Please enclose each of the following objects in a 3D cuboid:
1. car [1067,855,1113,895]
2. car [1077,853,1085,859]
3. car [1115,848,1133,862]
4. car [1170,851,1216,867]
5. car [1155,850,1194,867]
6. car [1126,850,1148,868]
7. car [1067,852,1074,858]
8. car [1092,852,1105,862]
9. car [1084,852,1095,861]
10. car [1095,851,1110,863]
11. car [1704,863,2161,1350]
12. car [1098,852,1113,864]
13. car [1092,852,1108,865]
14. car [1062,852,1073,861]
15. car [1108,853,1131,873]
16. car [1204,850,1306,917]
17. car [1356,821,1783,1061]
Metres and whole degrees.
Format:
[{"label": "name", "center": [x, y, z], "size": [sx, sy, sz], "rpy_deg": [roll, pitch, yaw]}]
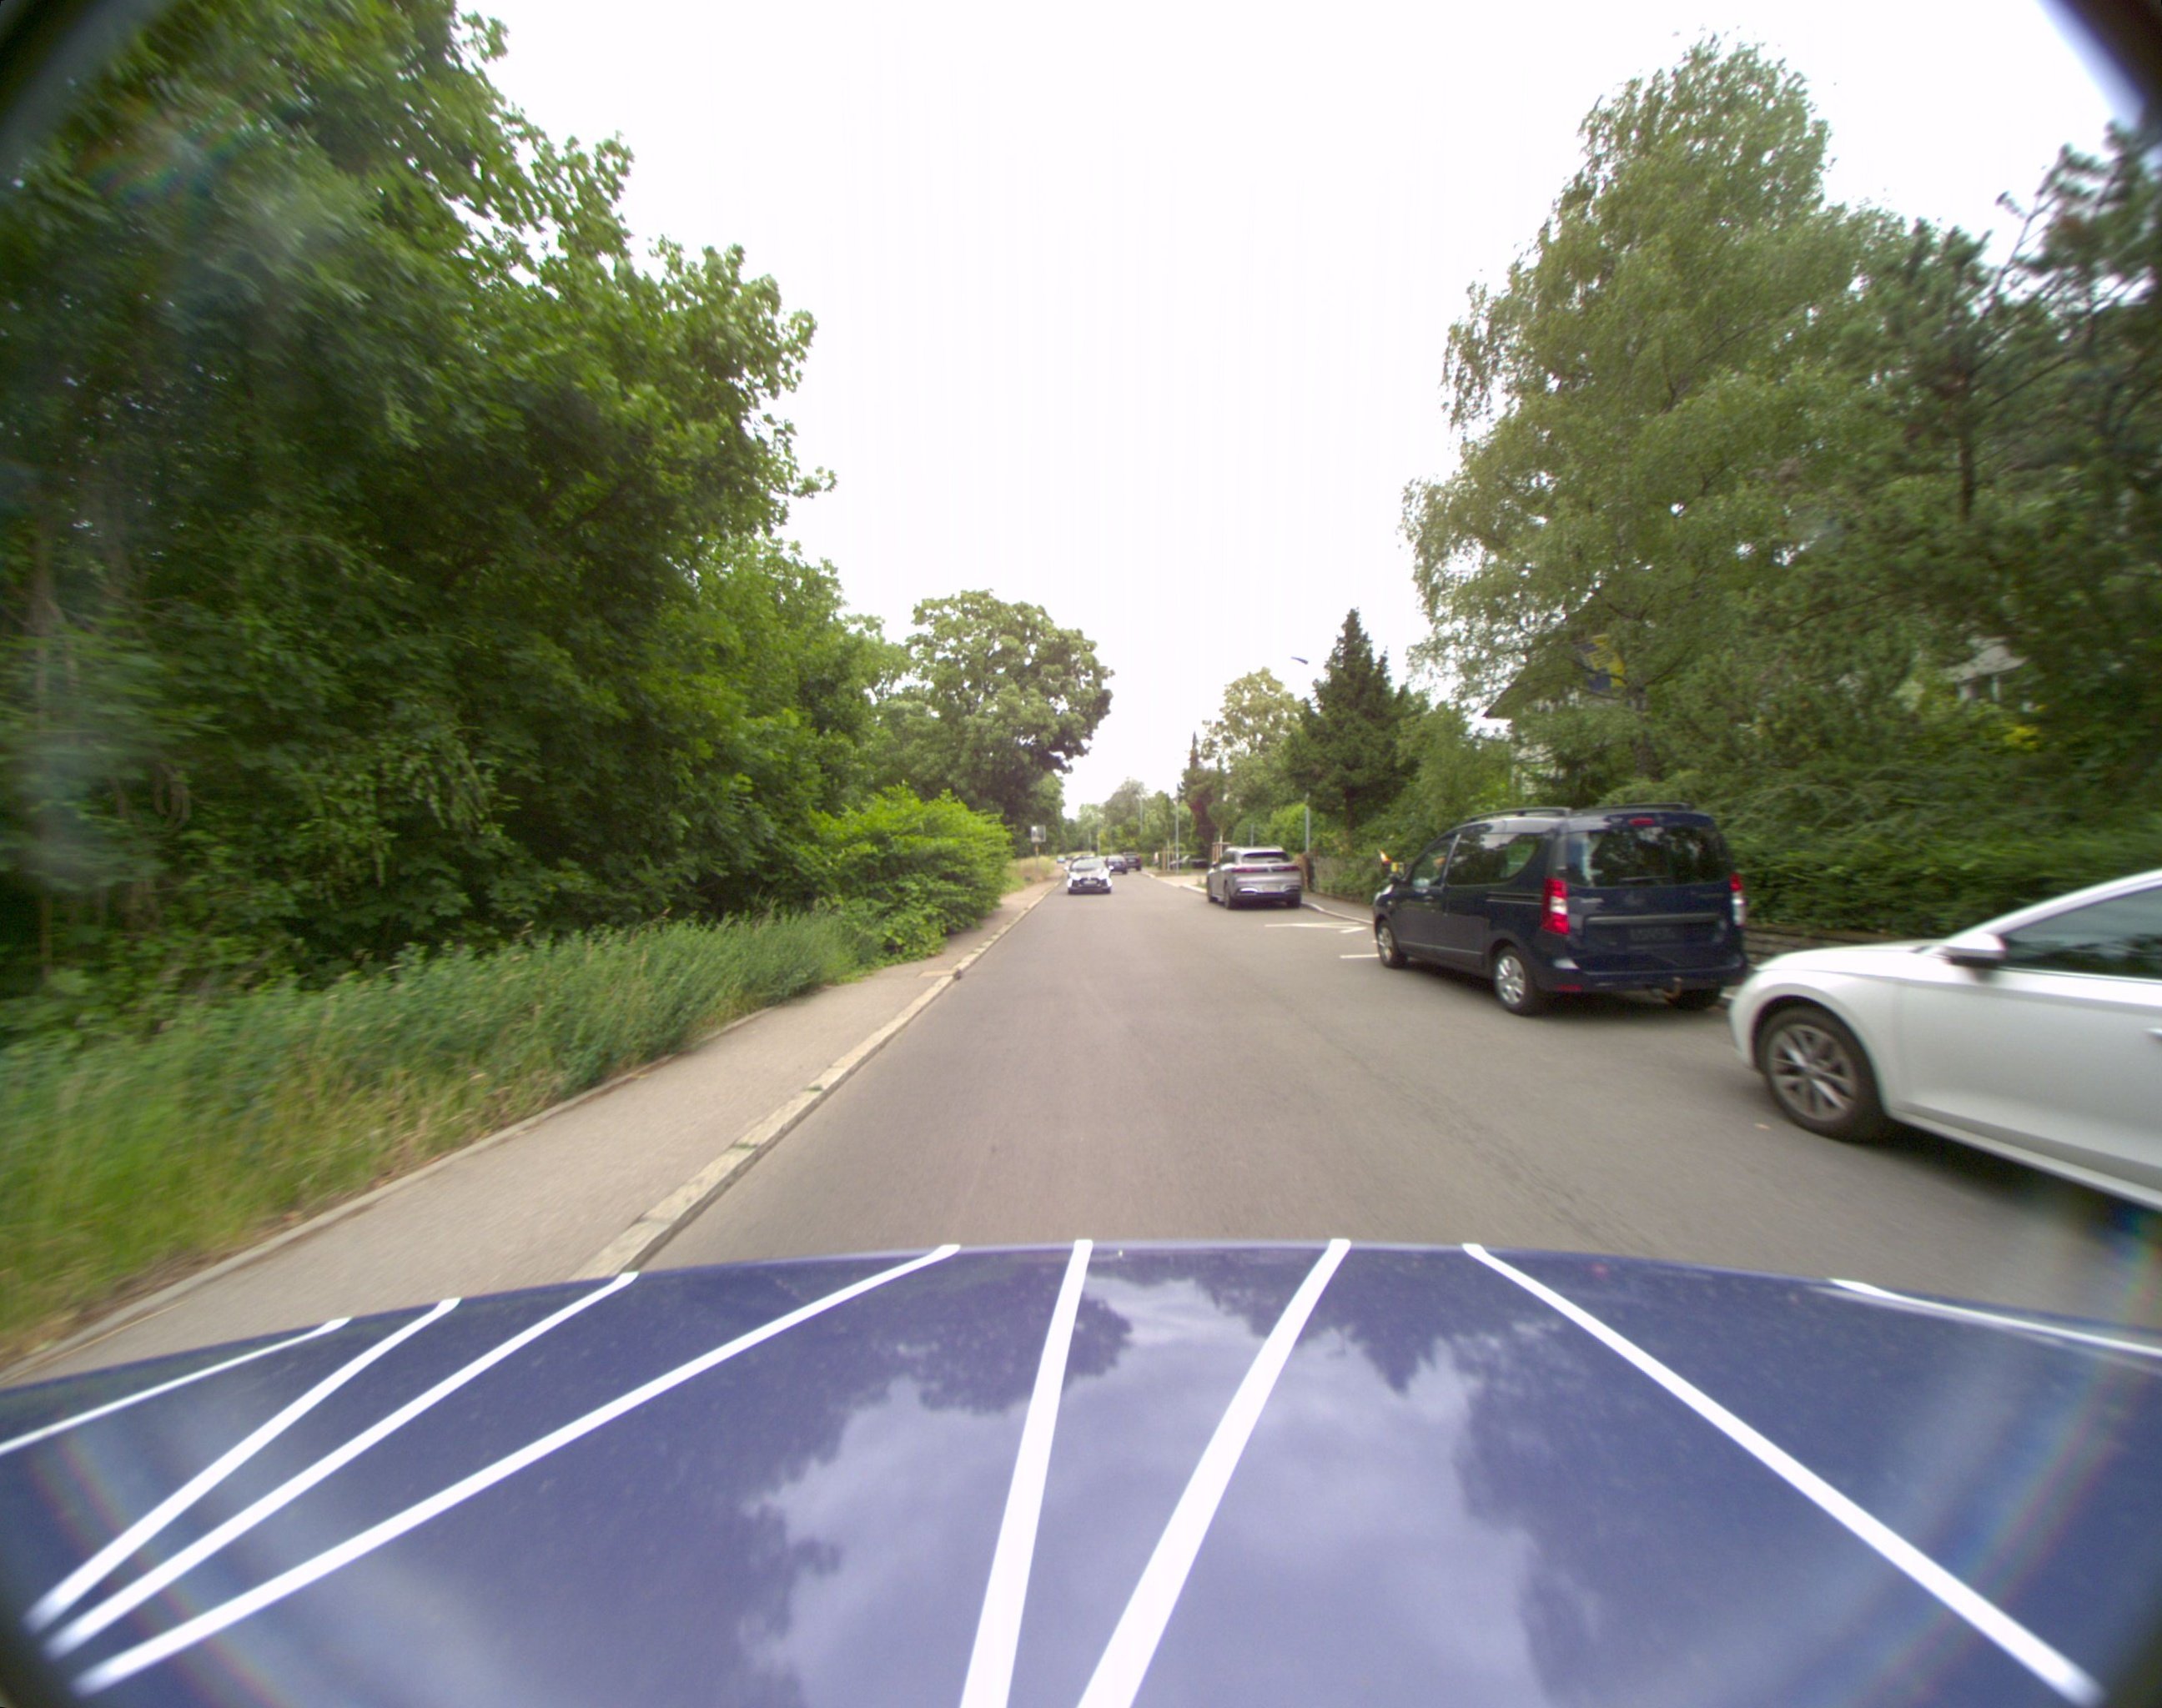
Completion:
[{"label": "car", "center": [0.406, 0.792, 30.689], "size": [1.711, 1.466, 4.195], "rpy_deg": [-1, 0, 2]}, {"label": "car", "center": [0.021, 0.476, 199.329], "size": [1.922, 1.670, 4.194], "rpy_deg": [-1, 0, -1]}, {"label": "car", "center": [5.035, 0.110, 89.321], "size": [1.922, 1.670, 4.195], "rpy_deg": [-1, 0, 2]}, {"label": "car", "center": [9.545, 0.427, 65.029], "size": [3.773, 1.306, 1.641], "rpy_deg": [-1, 0, 2]}, {"label": "car", "center": [9.304, 0.481, 75.572], "size": [3.772, 1.581, 1.641], "rpy_deg": [-1, 0, 7]}, {"label": "car", "center": [5.288, 0.441, 72.168], "size": [1.922, 1.670, 4.195], "rpy_deg": [-1, 0, 2]}, {"label": "car", "center": [-2.911, 0.307, 215.212], "size": [1.922, 1.670, 4.194], "rpy_deg": [-1, 0, -1]}, {"label": "car", "center": [3.010, 0.448, 131.020], "size": [1.922, 1.670, 4.194], "rpy_deg": [-1, 0, -1]}, {"label": "car", "center": [1.703, 0.456, 147.240], "size": [1.922, 1.670, 4.194], "rpy_deg": [-1, 0, -1]}, {"label": "car", "center": [3.135, 0.438, 111.791], "size": [1.922, 1.670, 4.194], "rpy_deg": [-1, 0, -1]}, {"label": "car", "center": [4.301, 0.830, 2.055], "size": [1.710, 1.502, 4.555], "rpy_deg": [-1, 0, 4]}, {"label": "car", "center": [3.390, 0.516, 106.925], "size": [1.922, 1.670, 4.194], "rpy_deg": [-1, 0, -1]}, {"label": "car", "center": [2.544, 0.553, 101.276], "size": [1.922, 1.670, 4.194], "rpy_deg": [-1, 0, -1]}, {"label": "car", "center": [-2.737, 0.566, 150.117], "size": [1.923, 1.670, 4.193], "rpy_deg": [-1, 0, -3]}, {"label": "car", "center": [3.044, 0.663, 60.123], "size": [1.711, 1.466, 4.195], "rpy_deg": [-1, 0, 2]}, {"label": "car", "center": [4.662, 0.714, 21.064], "size": [1.800, 1.598, 4.730], "rpy_deg": [-1, 0, 1]}, {"label": "car", "center": [4.500, 0.659, 7.934], "size": [1.711, 1.789, 4.298], "rpy_deg": [-1, 0, 1]}]
